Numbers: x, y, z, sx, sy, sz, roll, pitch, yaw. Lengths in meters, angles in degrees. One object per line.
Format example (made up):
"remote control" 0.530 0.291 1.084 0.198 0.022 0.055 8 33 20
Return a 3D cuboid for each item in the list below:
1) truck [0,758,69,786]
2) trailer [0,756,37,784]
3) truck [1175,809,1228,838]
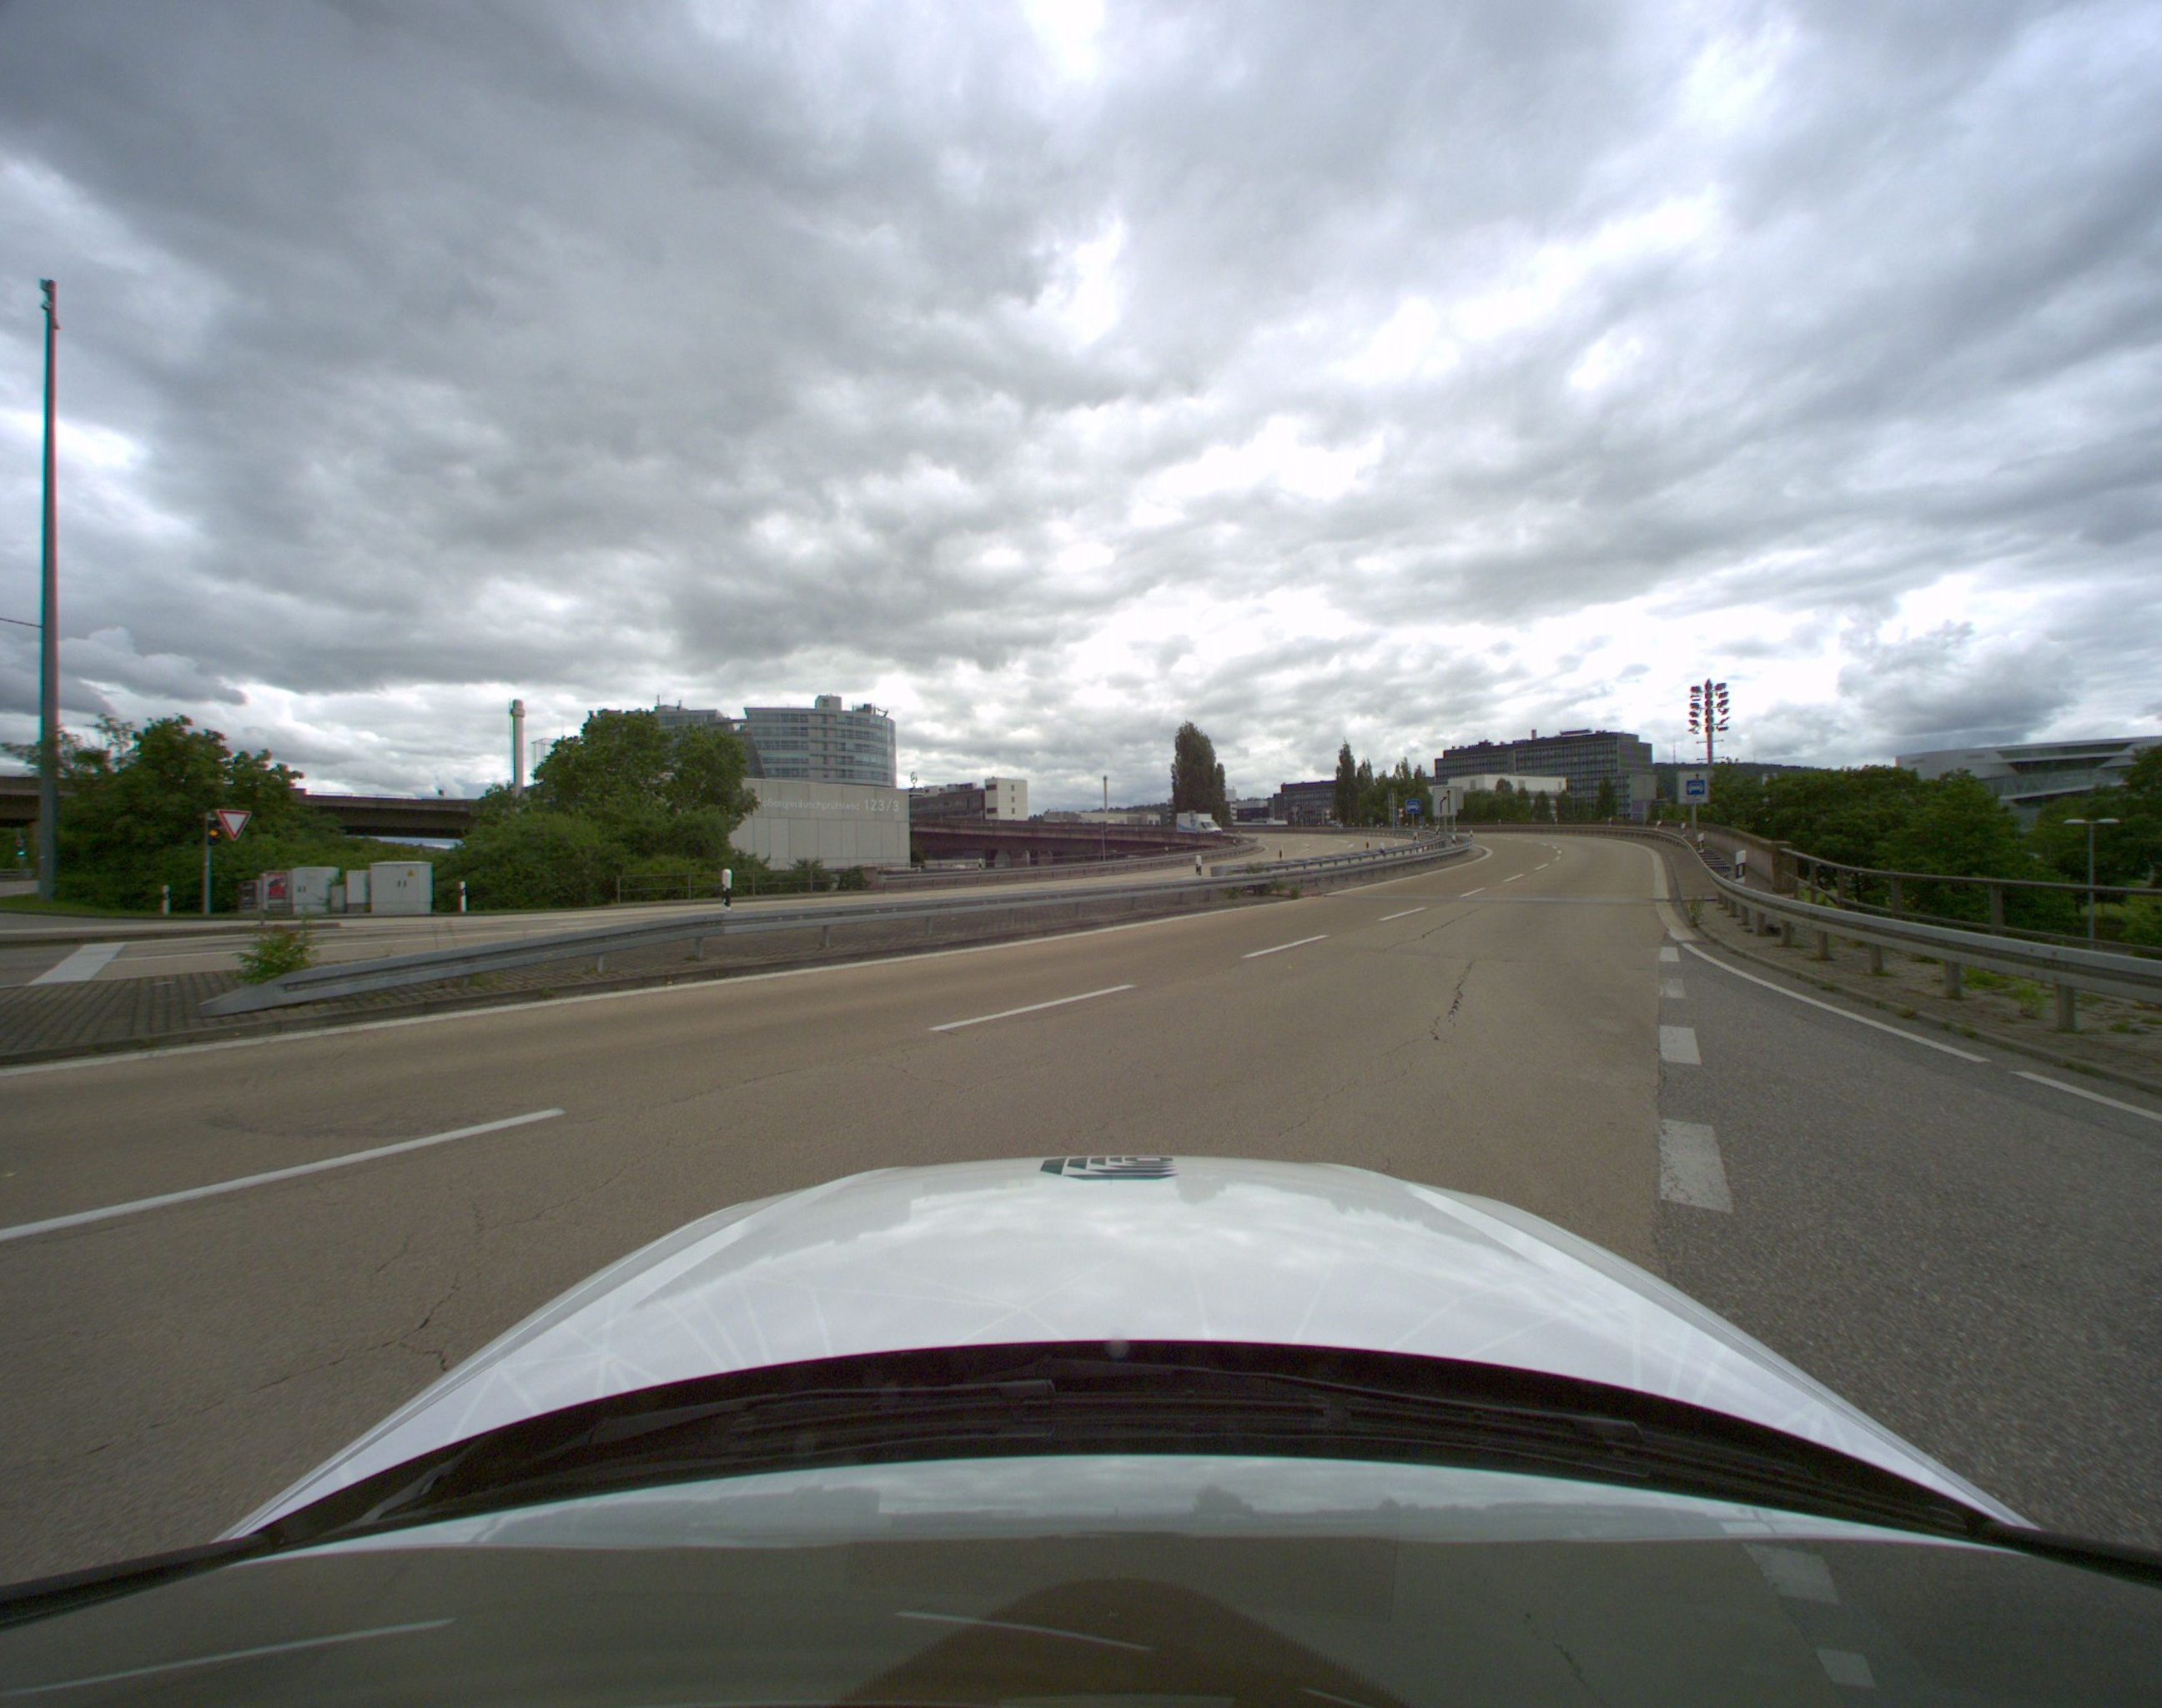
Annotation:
"truck" -124.743 -9.738 96.257 5.952 2.700 2.125 3 0 -28
"trailer" -129.455 -9.994 93.855 11.137 2.969 2.365 1 1 -28
"truck" 14.822 -3.812 100.700 2.363 3.262 6.921 0 3 -35
